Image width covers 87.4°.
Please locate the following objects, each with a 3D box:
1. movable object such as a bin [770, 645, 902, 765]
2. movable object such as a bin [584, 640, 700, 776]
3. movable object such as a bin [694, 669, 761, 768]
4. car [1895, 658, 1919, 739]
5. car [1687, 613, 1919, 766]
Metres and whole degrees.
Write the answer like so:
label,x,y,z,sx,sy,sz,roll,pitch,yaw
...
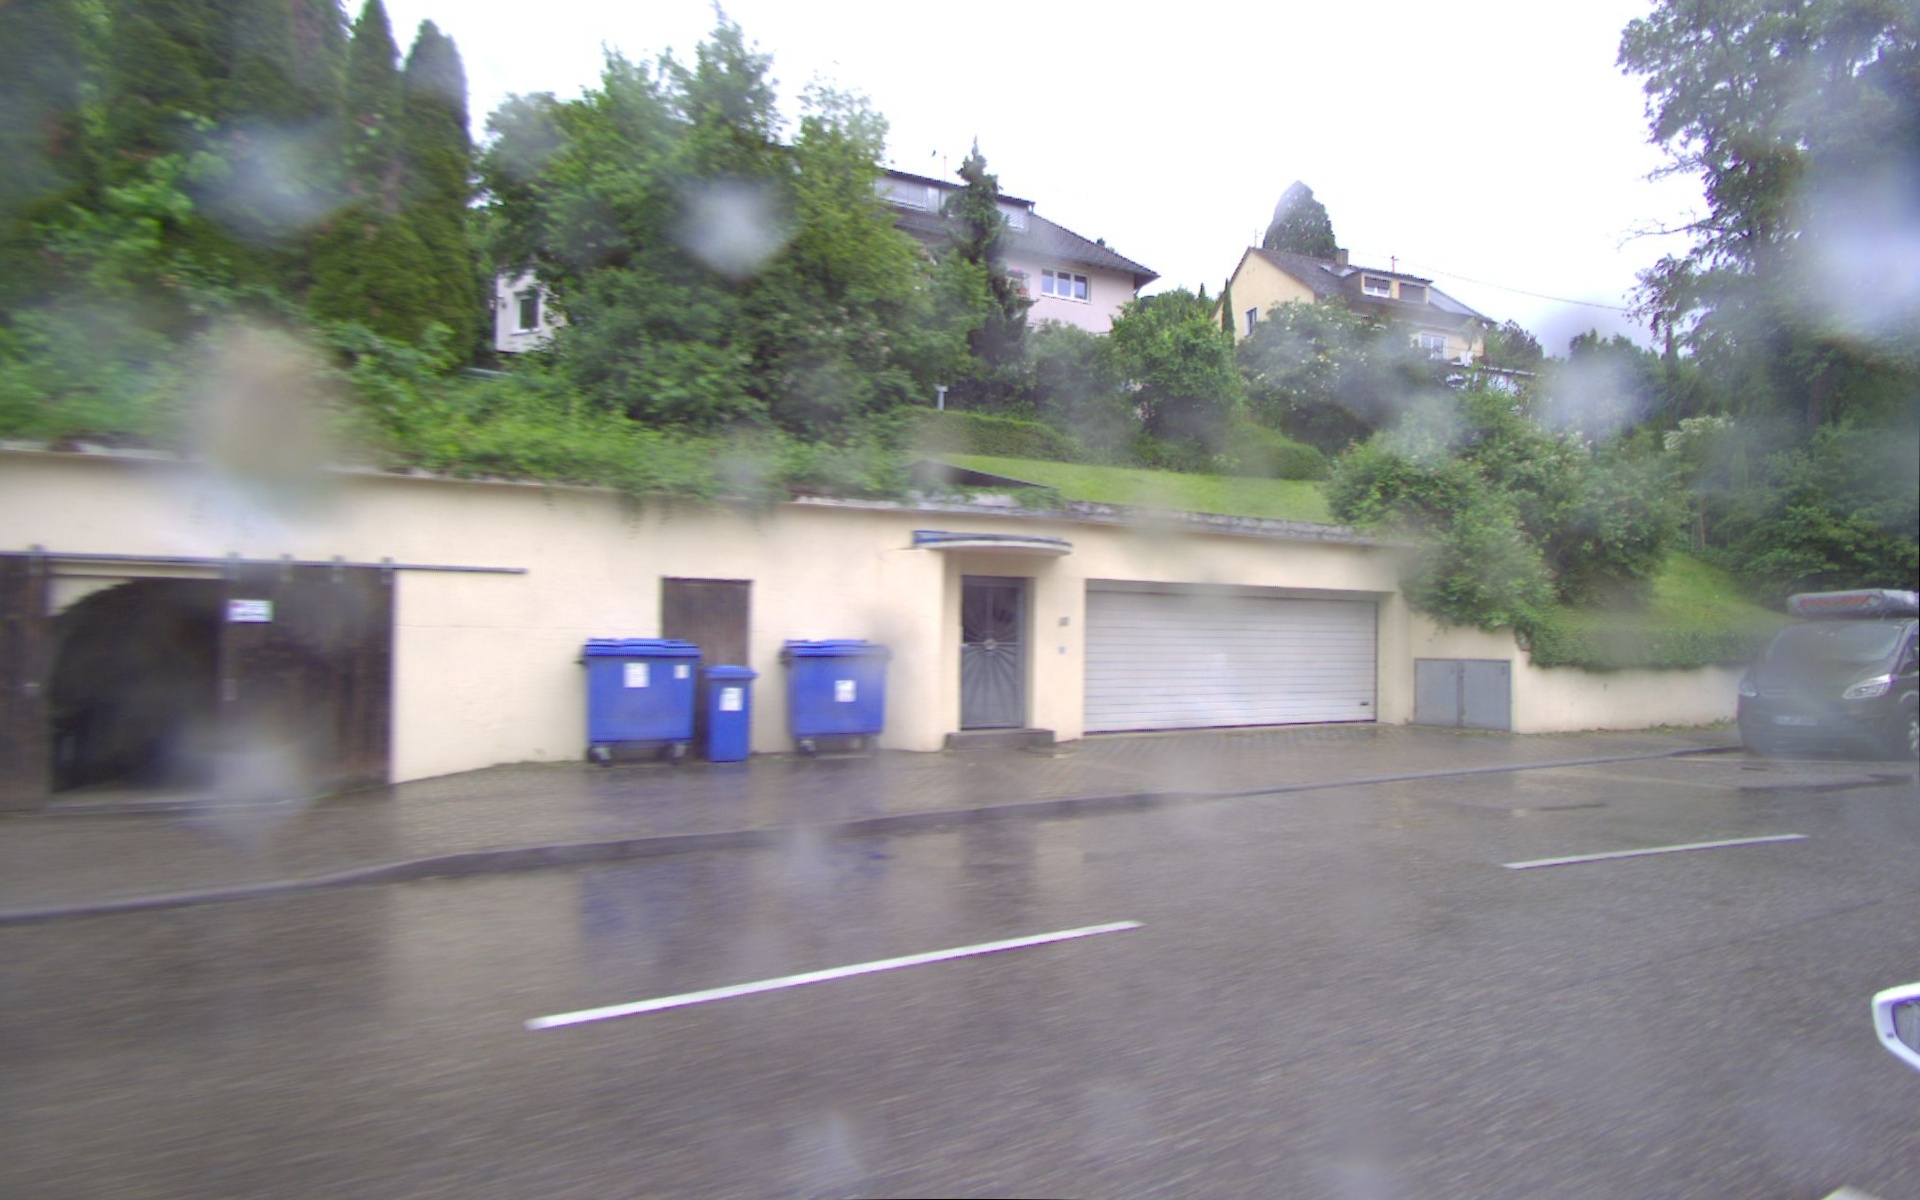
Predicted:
label,x,y,z,sx,sy,sz,roll,pitch,yaw
movable object such as a bin,-1.486,1.218,12.013,1.383,1.332,0.818,1,-2,-26
movable object such as a bin,-3.512,1.152,11.064,1.119,1.400,0.818,1,-2,-26
movable object such as a bin,-2.676,1.337,11.529,0.599,1.056,0.733,1,-2,-25
car,18.382,1.704,17.746,3.860,1.382,1.558,2,-5,-29
car,13.529,1.268,15.045,5.256,1.943,2.151,1,-4,-28
